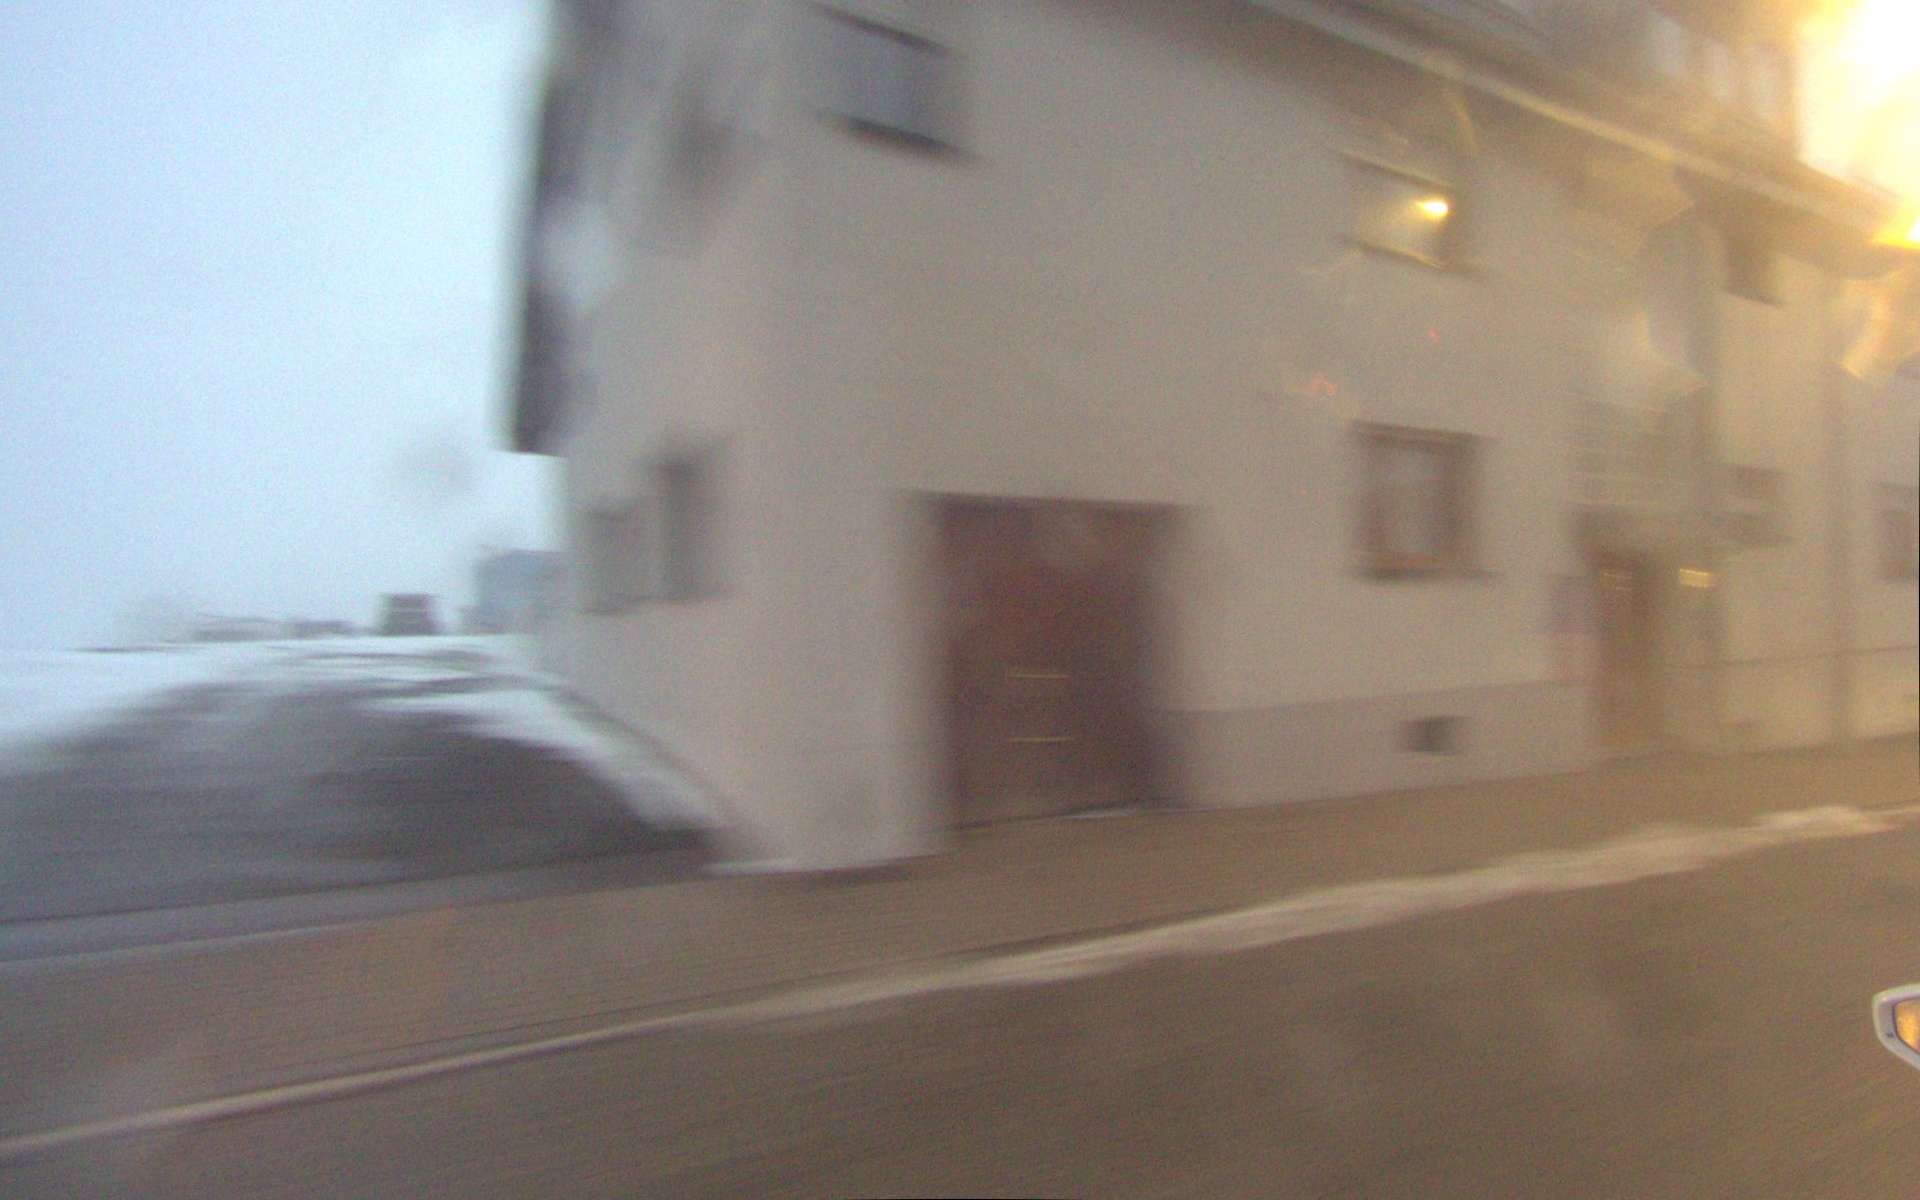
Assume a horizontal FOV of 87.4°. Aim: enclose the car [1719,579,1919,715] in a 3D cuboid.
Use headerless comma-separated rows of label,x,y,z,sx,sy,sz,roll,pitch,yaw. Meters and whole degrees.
car,16.489,0.842,18.262,1.987,2.307,3.949,-1,-4,-45
